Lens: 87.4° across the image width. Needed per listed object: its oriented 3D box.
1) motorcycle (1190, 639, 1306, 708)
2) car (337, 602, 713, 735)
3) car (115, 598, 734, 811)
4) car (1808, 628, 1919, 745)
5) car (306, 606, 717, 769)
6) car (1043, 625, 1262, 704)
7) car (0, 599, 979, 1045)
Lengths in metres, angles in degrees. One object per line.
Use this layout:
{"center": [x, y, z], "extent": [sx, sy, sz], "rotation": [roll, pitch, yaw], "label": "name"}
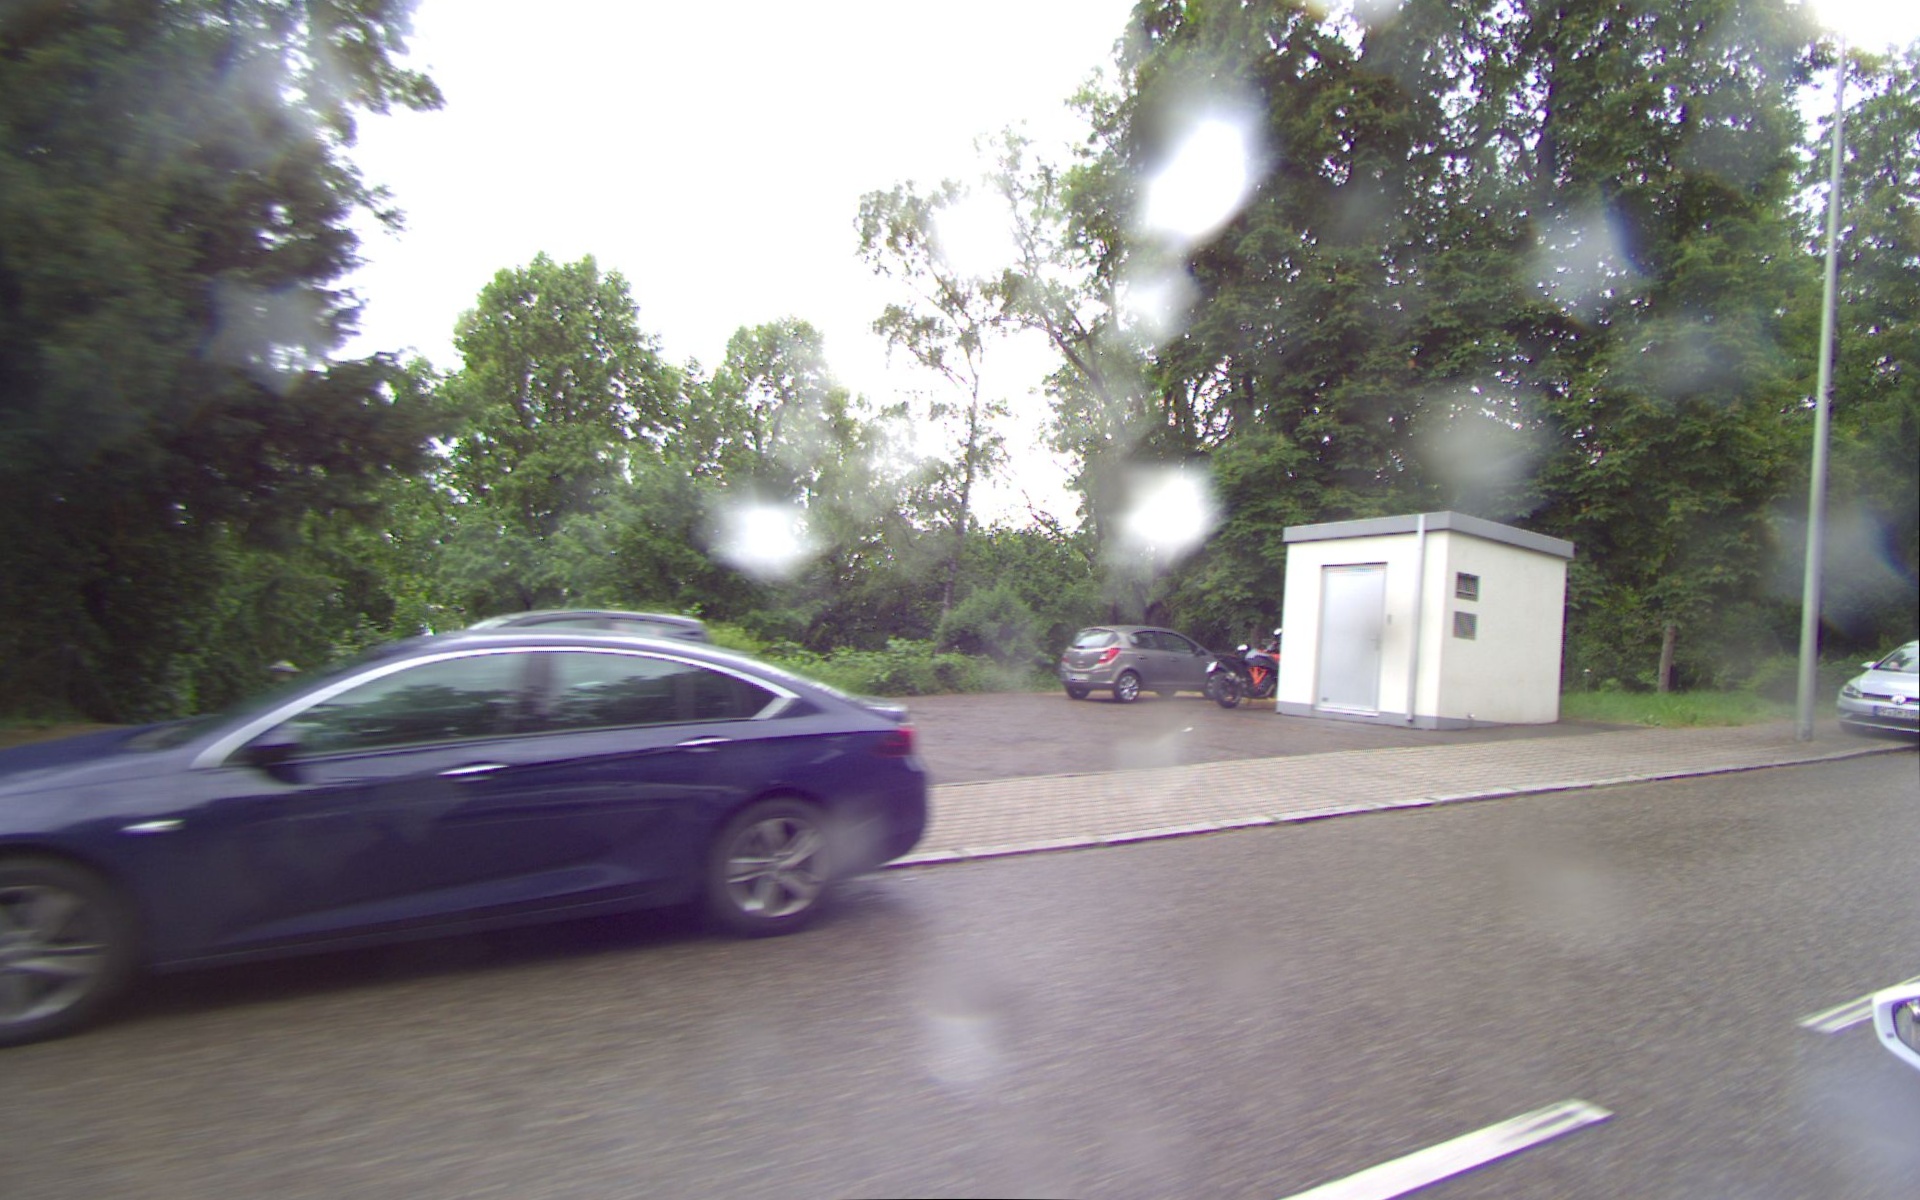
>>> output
{"center": [5.332, 1.331, 18.532], "extent": [2.247, 1.204, 0.598], "rotation": [1, -1, -26], "label": "motorcycle"}
{"center": [-5.459, 0.820, 12.892], "extent": [4.190, 1.478, 1.589], "rotation": [1, -1, -29], "label": "car"}
{"center": [-4.357, 0.783, 8.793], "extent": [4.342, 1.478, 1.715], "rotation": [1, -1, -29], "label": "car"}
{"center": [15.058, 1.258, 15.299], "extent": [4.187, 1.632, 1.879], "rotation": [1, -3, -29], "label": "car"}
{"center": [-4.659, 0.846, 10.722], "extent": [3.728, 1.478, 1.614], "rotation": [1, -1, -29], "label": "car"}
{"center": [4.040, 1.280, 20.892], "extent": [4.348, 1.478, 1.934], "rotation": [1, -1, -32], "label": "car"}
{"center": [-2.393, 0.845, 5.010], "extent": [4.698, 1.512, 1.852], "rotation": [1, -4, -30], "label": "car"}
